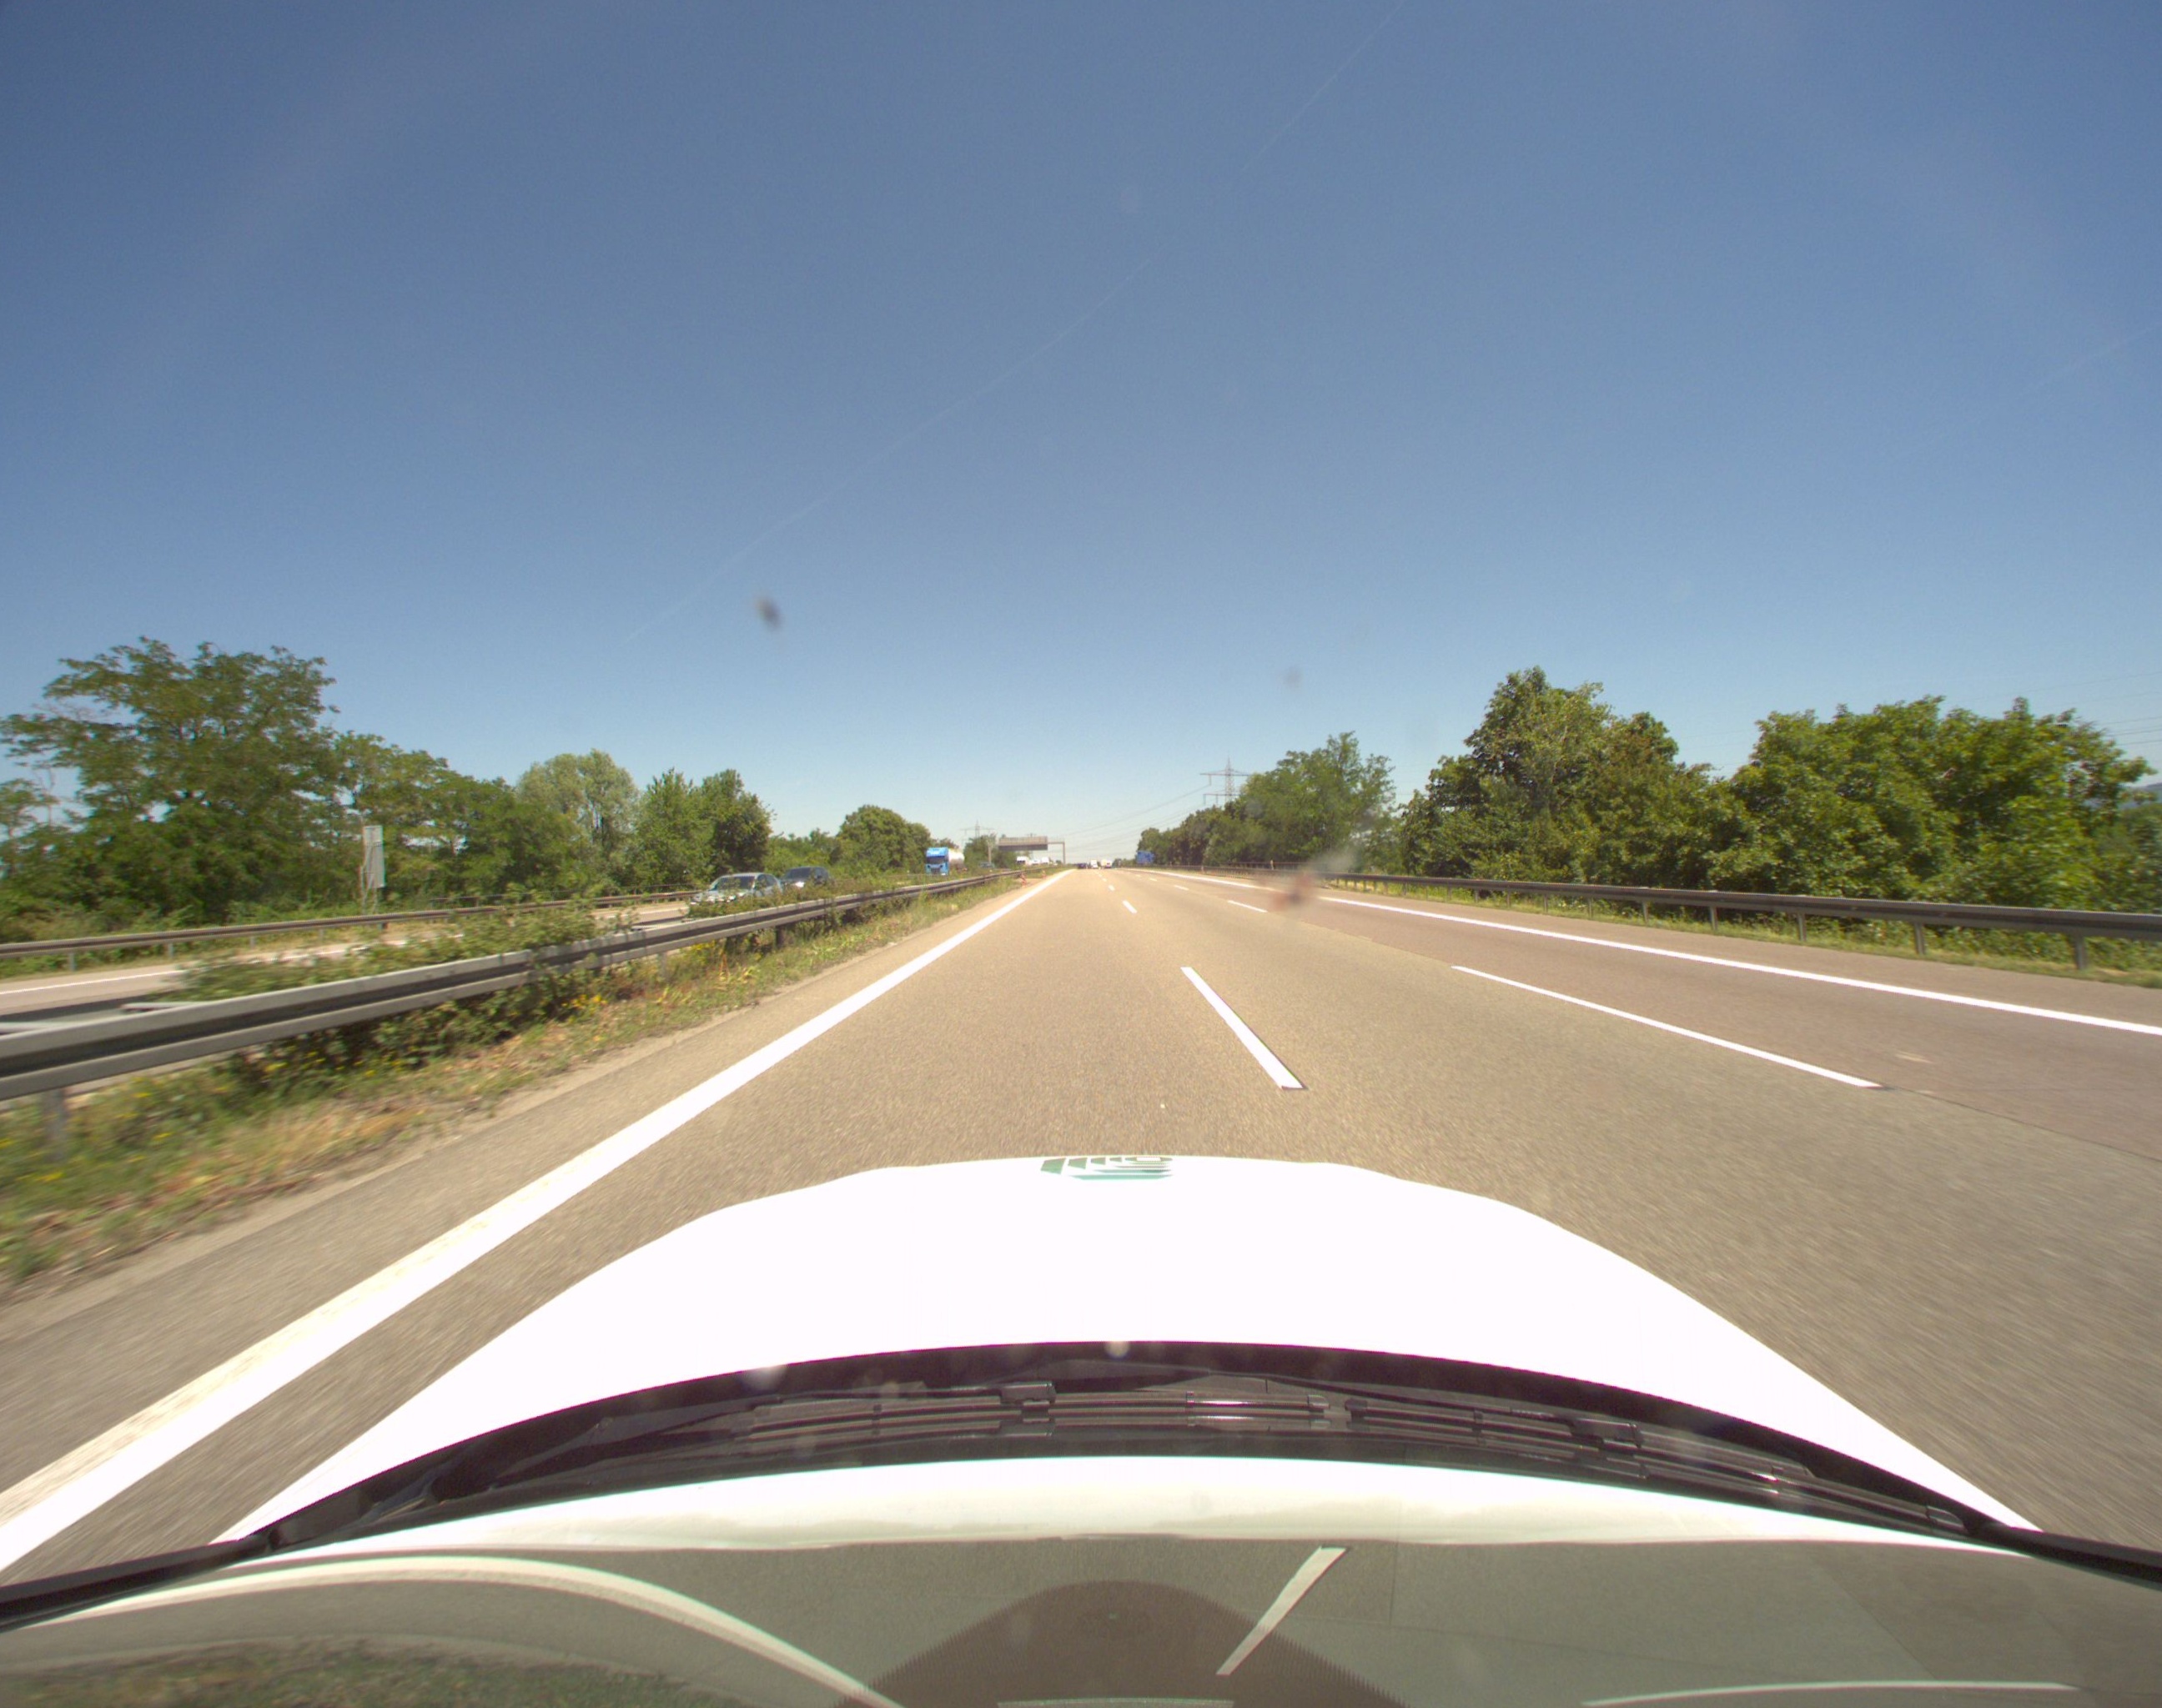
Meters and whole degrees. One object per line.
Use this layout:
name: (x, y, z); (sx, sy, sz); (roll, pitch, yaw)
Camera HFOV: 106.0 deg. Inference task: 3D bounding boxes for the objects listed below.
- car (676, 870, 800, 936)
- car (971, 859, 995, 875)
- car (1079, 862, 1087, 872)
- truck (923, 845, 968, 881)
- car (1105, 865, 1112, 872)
car: (-10.398, 1.412, 25.038); (1.987, 1.730, 4.092); (-2, 0, 0)
car: (-13.088, 1.749, 109.617); (2.405, 1.918, 5.782); (-2, 0, 0)
car: (0.498, 2.921, 183.492); (1.785, 2.014, 3.887); (0, -1, 1)
truck: (-17.080, 1.174, 103.971); (2.719, 4.053, 15.936); (-2, -1, 1)
car: (8.336, 4.276, 244.211); (1.987, 2.014, 3.999); (-2, -1, 0)
